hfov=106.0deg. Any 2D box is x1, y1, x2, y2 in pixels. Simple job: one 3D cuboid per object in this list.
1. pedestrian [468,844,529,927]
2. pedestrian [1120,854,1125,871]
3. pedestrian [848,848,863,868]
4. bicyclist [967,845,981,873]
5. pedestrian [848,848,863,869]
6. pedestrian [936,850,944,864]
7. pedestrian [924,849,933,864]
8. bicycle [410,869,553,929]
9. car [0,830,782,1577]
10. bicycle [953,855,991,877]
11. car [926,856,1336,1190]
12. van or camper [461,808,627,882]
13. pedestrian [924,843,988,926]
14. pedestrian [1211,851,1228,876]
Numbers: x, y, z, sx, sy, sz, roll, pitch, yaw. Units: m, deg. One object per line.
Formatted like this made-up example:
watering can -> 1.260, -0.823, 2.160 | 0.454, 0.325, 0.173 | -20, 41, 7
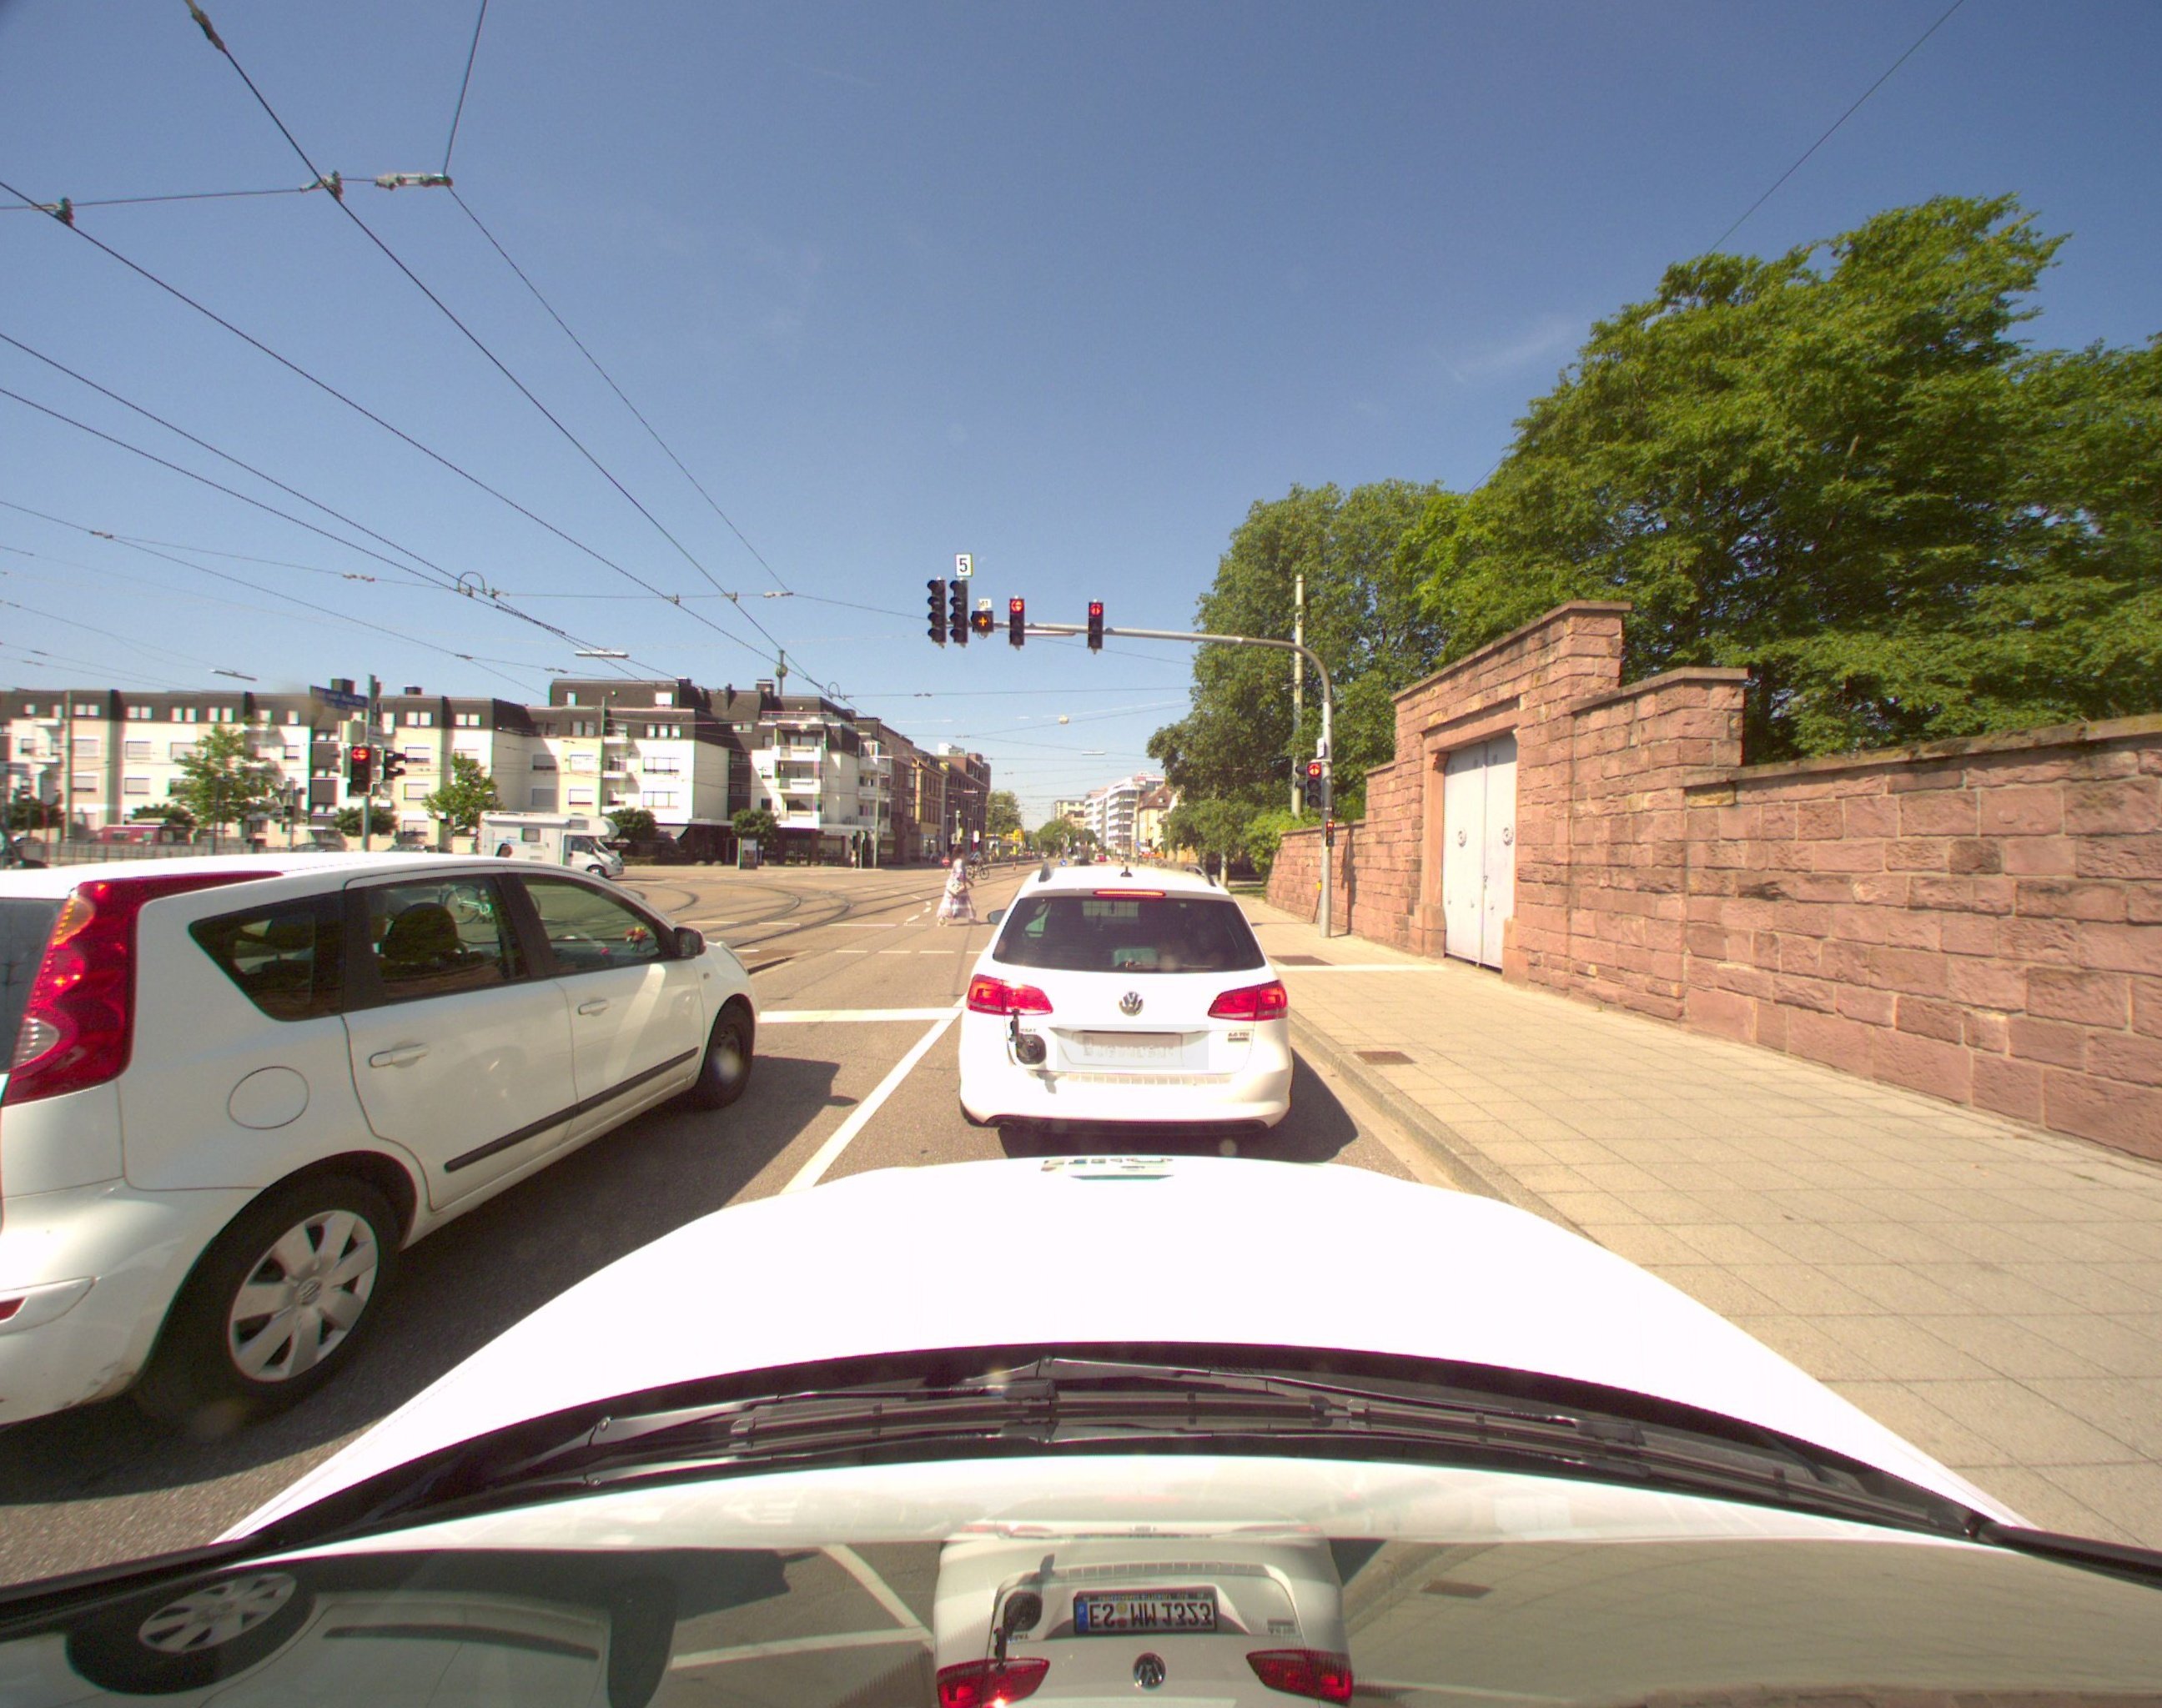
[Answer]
pedestrian -> -11.372, 0.598, 15.920 | 0.746, 1.572, 0.672 | -1, -1, -13
pedestrian -> 5.621, 1.192, 109.995 | 0.687, 2.325, 1.233 | -1, -1, 3
pedestrian -> -20.036, 0.369, 72.479 | 0.980, 1.743, 0.854 | 0, -2, -42
bicyclist -> -6.299, 0.304, 47.949 | 0.641, 1.613, 0.556 | 0, -2, -41
pedestrian -> -19.781, 0.392, 71.413 | 0.978, 1.743, 0.855 | 0, -2, -33
pedestrian -> -17.403, 0.405, 100.534 | 0.860, 1.743, 0.973 | -1, -1, -4
pedestrian -> -17.614, 0.296, 94.279 | 0.860, 1.743, 0.973 | -1, -1, -4
bicycle -> -11.248, 0.832, 15.356 | 2.021, 1.090, 0.707 | 1, -1, -13
car -> -2.903, 0.718, 3.611 | 1.636, 1.566, 3.805 | -1, 1, 1
bicycle -> -6.384, 0.686, 47.868 | 2.261, 1.297, 0.553 | 0, -2, -41
car -> 0.276, 0.748, 5.595 | 1.801, 1.448, 4.001 | 0, 0, 1
van or camper -> -23.699, -0.383, 36.306 | 5.704, 3.093, 2.557 | -1, -1, -21
pedestrian -> -2.597, 0.612, 16.858 | 0.979, 1.651, 0.946 | 0, -2, -34
pedestrian -> 9.662, 0.671, 56.902 | 0.963, 1.743, 0.869 | -1, -1, 20
